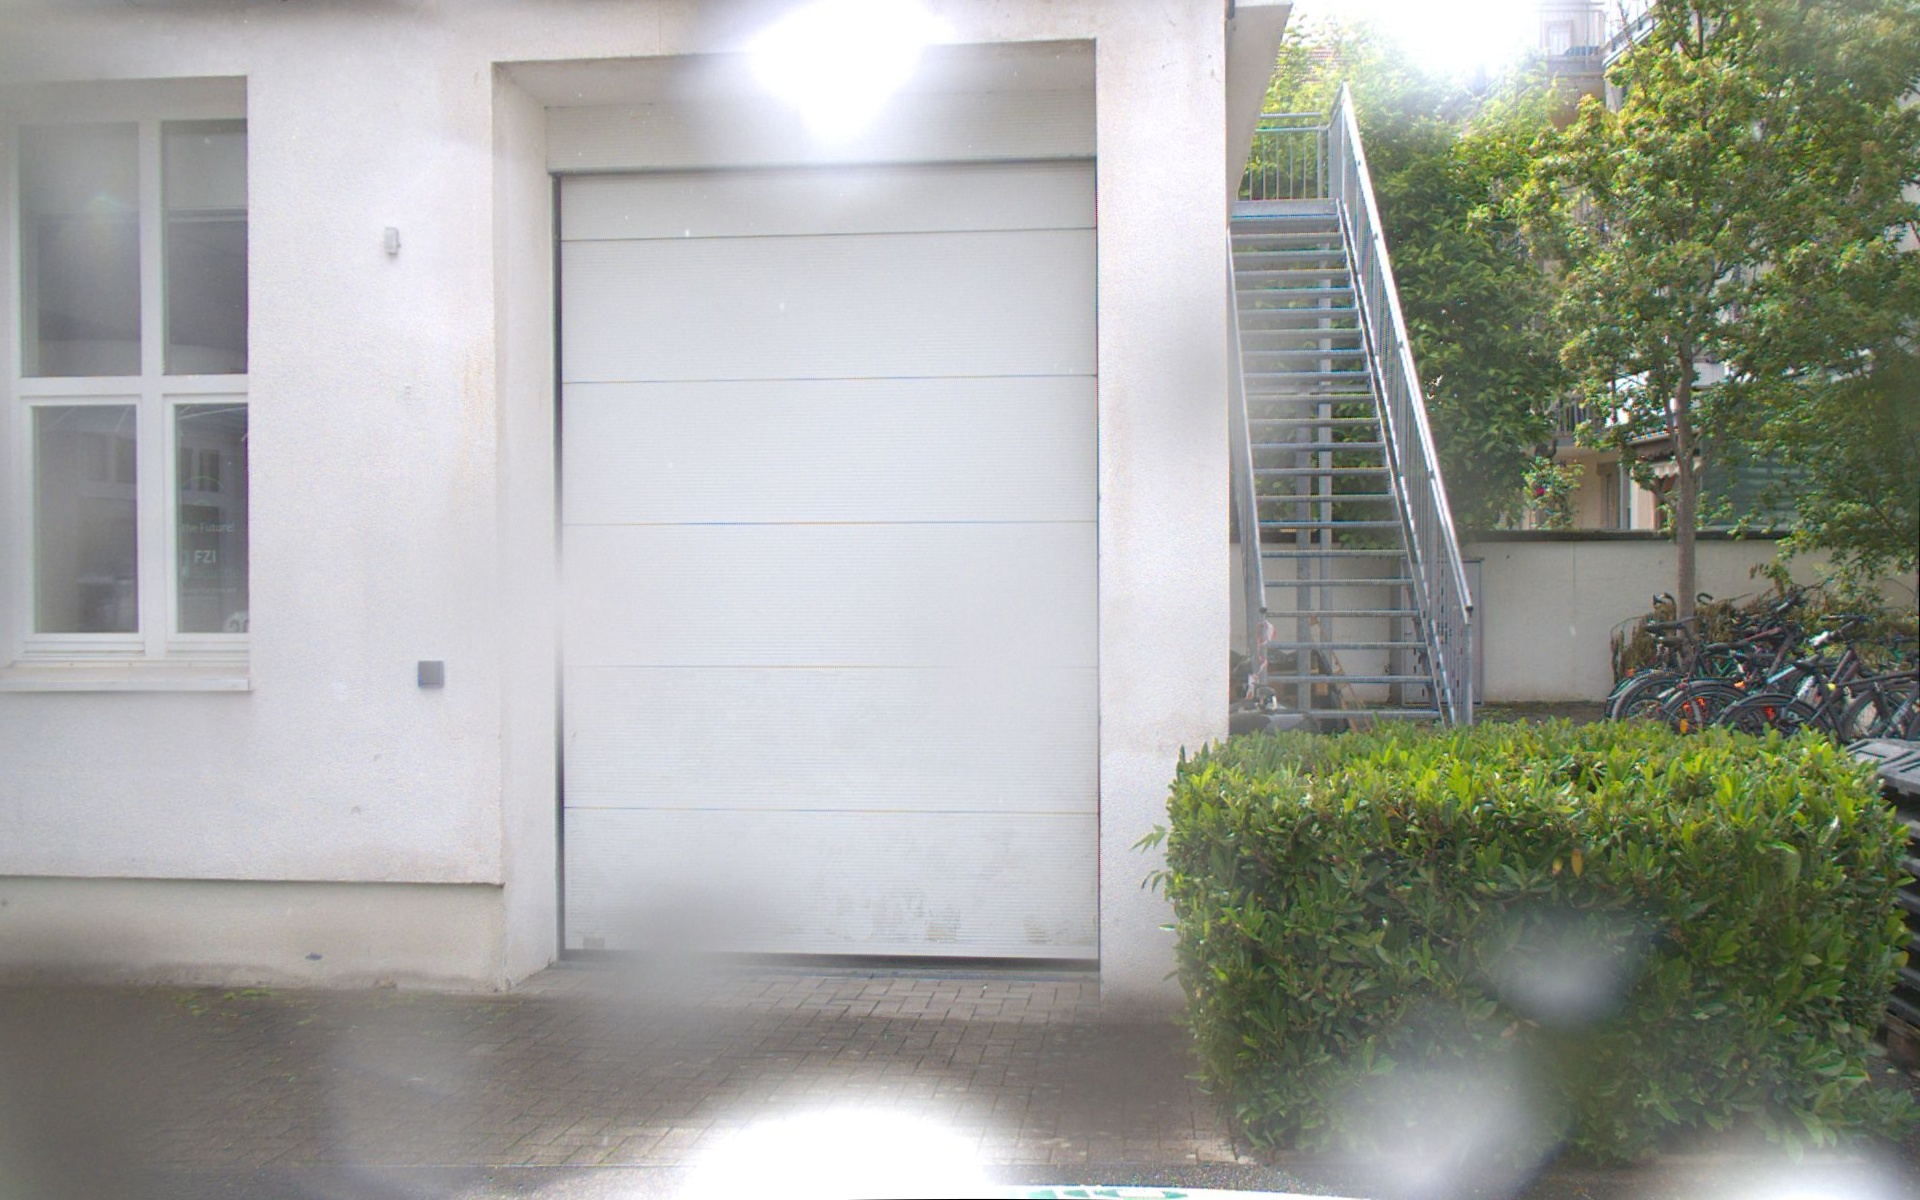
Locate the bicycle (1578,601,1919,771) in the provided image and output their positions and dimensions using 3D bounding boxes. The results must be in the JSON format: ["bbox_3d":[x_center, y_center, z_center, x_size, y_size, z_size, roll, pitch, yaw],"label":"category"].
[{"bbox_3d":[5.807,0.581,11.439,2.784,1.097,0.690,1,2,2],"label":"bicycle"}]

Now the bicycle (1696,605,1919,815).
[{"bbox_3d":[5.707,0.603,9.222,2.862,1.097,0.690,1,2,2],"label":"bicycle"}]

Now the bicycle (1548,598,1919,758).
[{"bbox_3d":[5.841,0.557,12.146,2.784,1.097,0.690,1,2,2],"label":"bicycle"}]

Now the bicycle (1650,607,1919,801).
[{"bbox_3d":[5.725,0.618,10.002,2.784,1.097,0.690,1,2,2],"label":"bicycle"}]

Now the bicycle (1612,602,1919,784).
[{"bbox_3d":[5.770,0.590,10.724,2.784,1.097,0.690,1,2,2],"label":"bicycle"}]
